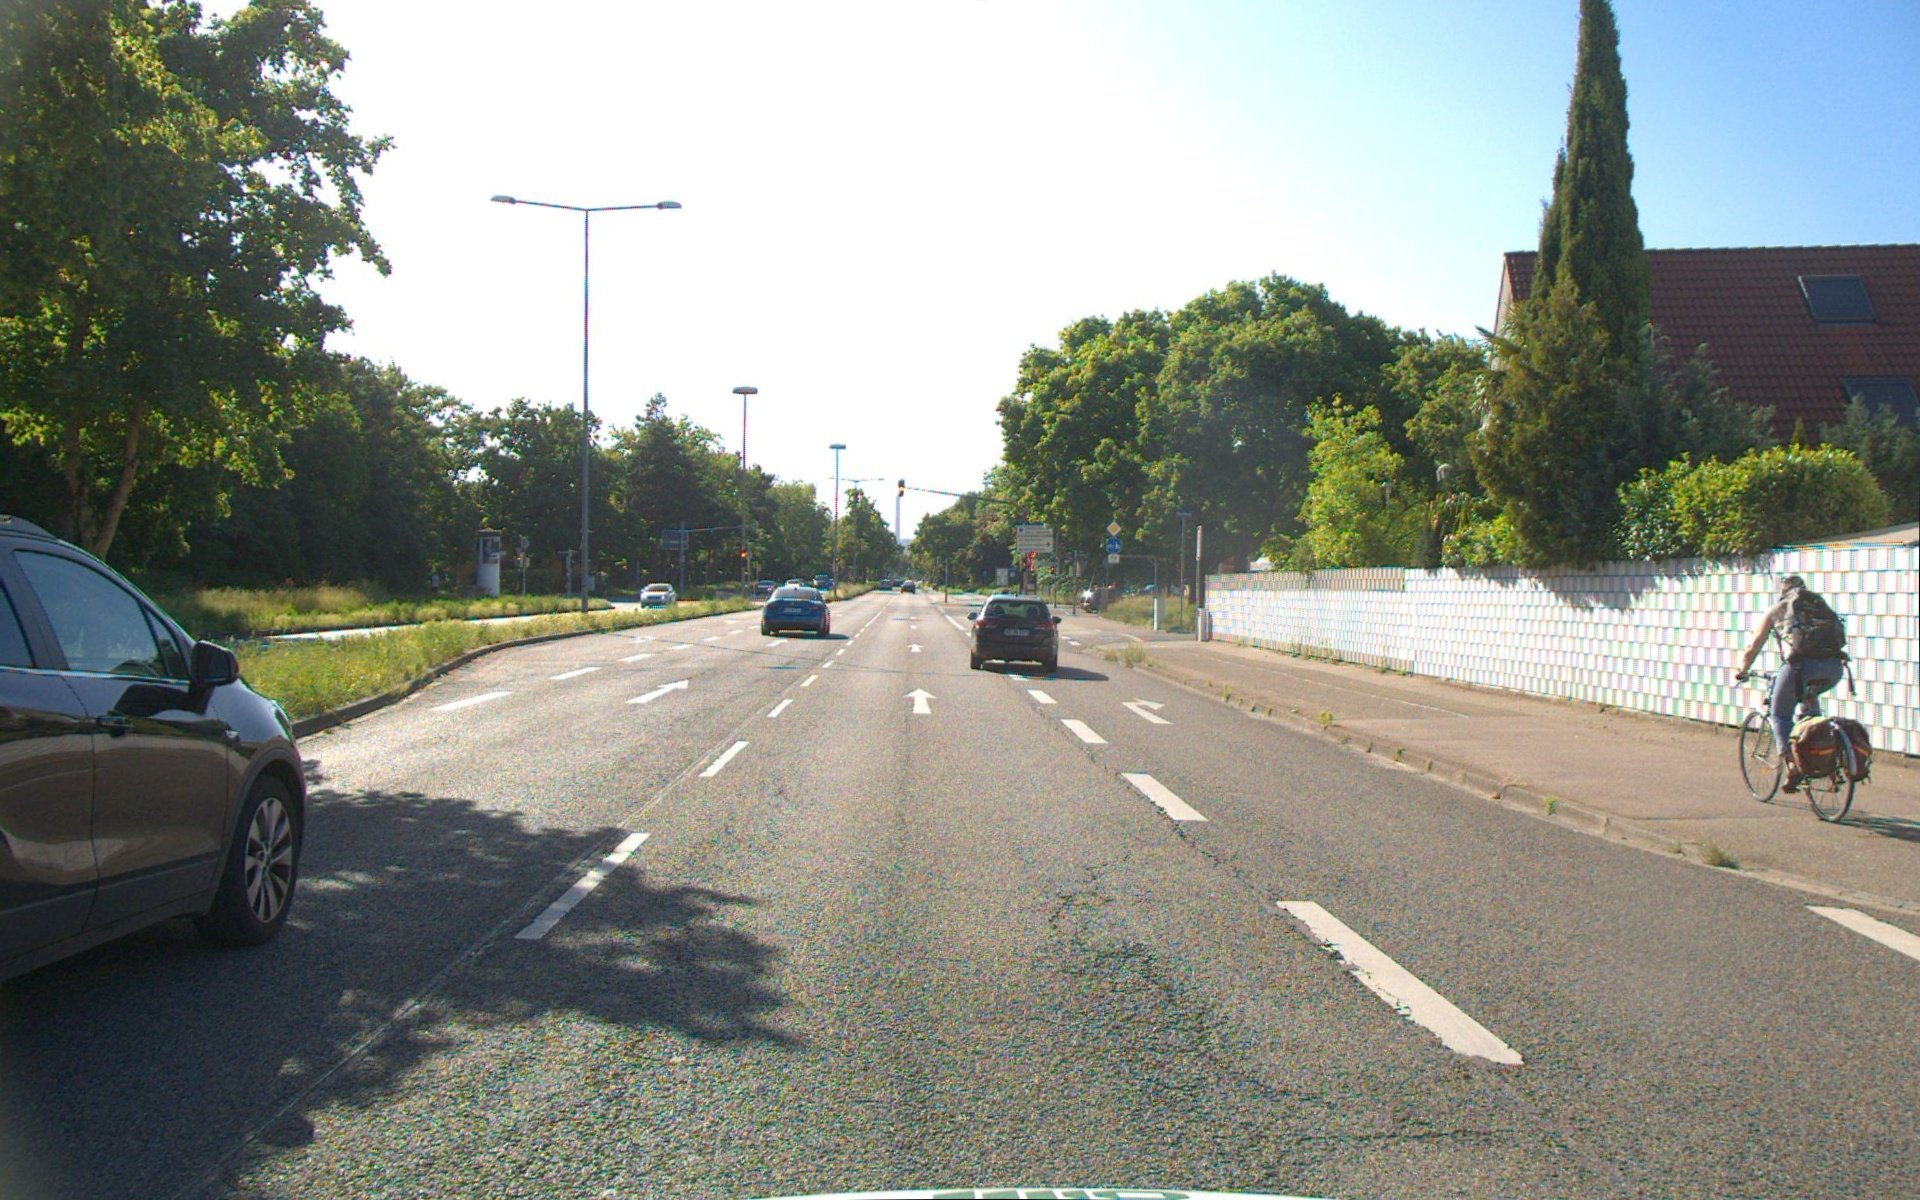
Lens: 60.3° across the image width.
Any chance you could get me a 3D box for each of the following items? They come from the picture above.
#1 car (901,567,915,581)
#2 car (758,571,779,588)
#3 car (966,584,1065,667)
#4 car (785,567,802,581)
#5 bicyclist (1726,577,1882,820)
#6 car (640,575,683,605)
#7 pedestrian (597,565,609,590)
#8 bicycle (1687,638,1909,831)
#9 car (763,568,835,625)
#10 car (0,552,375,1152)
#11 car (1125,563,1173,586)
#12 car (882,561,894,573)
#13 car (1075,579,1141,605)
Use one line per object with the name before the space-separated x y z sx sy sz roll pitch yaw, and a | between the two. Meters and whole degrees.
car | -6.480 -3.199 206.913 1.697 1.612 3.839 3 0 -1
car | -20.321 -2.199 175.611 1.826 1.713 4.259 3 0 -2
car | 1.077 0.466 33.620 1.720 1.535 3.807 2 1 -2
car | -21.558 -3.302 214.042 1.826 1.713 3.999 3 0 -2
bicyclist | 6.111 0.681 12.021 0.617 1.661 0.982 -2 1 1
car | -18.205 -0.606 101.000 1.873 1.733 4.406 3 0 -1
pedestrian | -28.182 -1.773 130.596 0.828 1.866 0.550 1 4 2
bicycle | 6.114 0.929 12.215 0.562 1.175 2.141 -2 2 1
car | -4.724 -0.127 49.037 1.850 1.579 3.999 1 1 -2
car | -3.494 0.665 5.411 1.661 1.660 4.416 1 1 -2
car | 15.952 -2.113 139.291 3.669 1.714 1.689 3 0 -28
car | -10.289 -4.696 236.283 1.788 1.643 3.838 0 1 -3
car | 9.291 -0.508 104.106 3.772 1.485 1.728 1 1 -21
